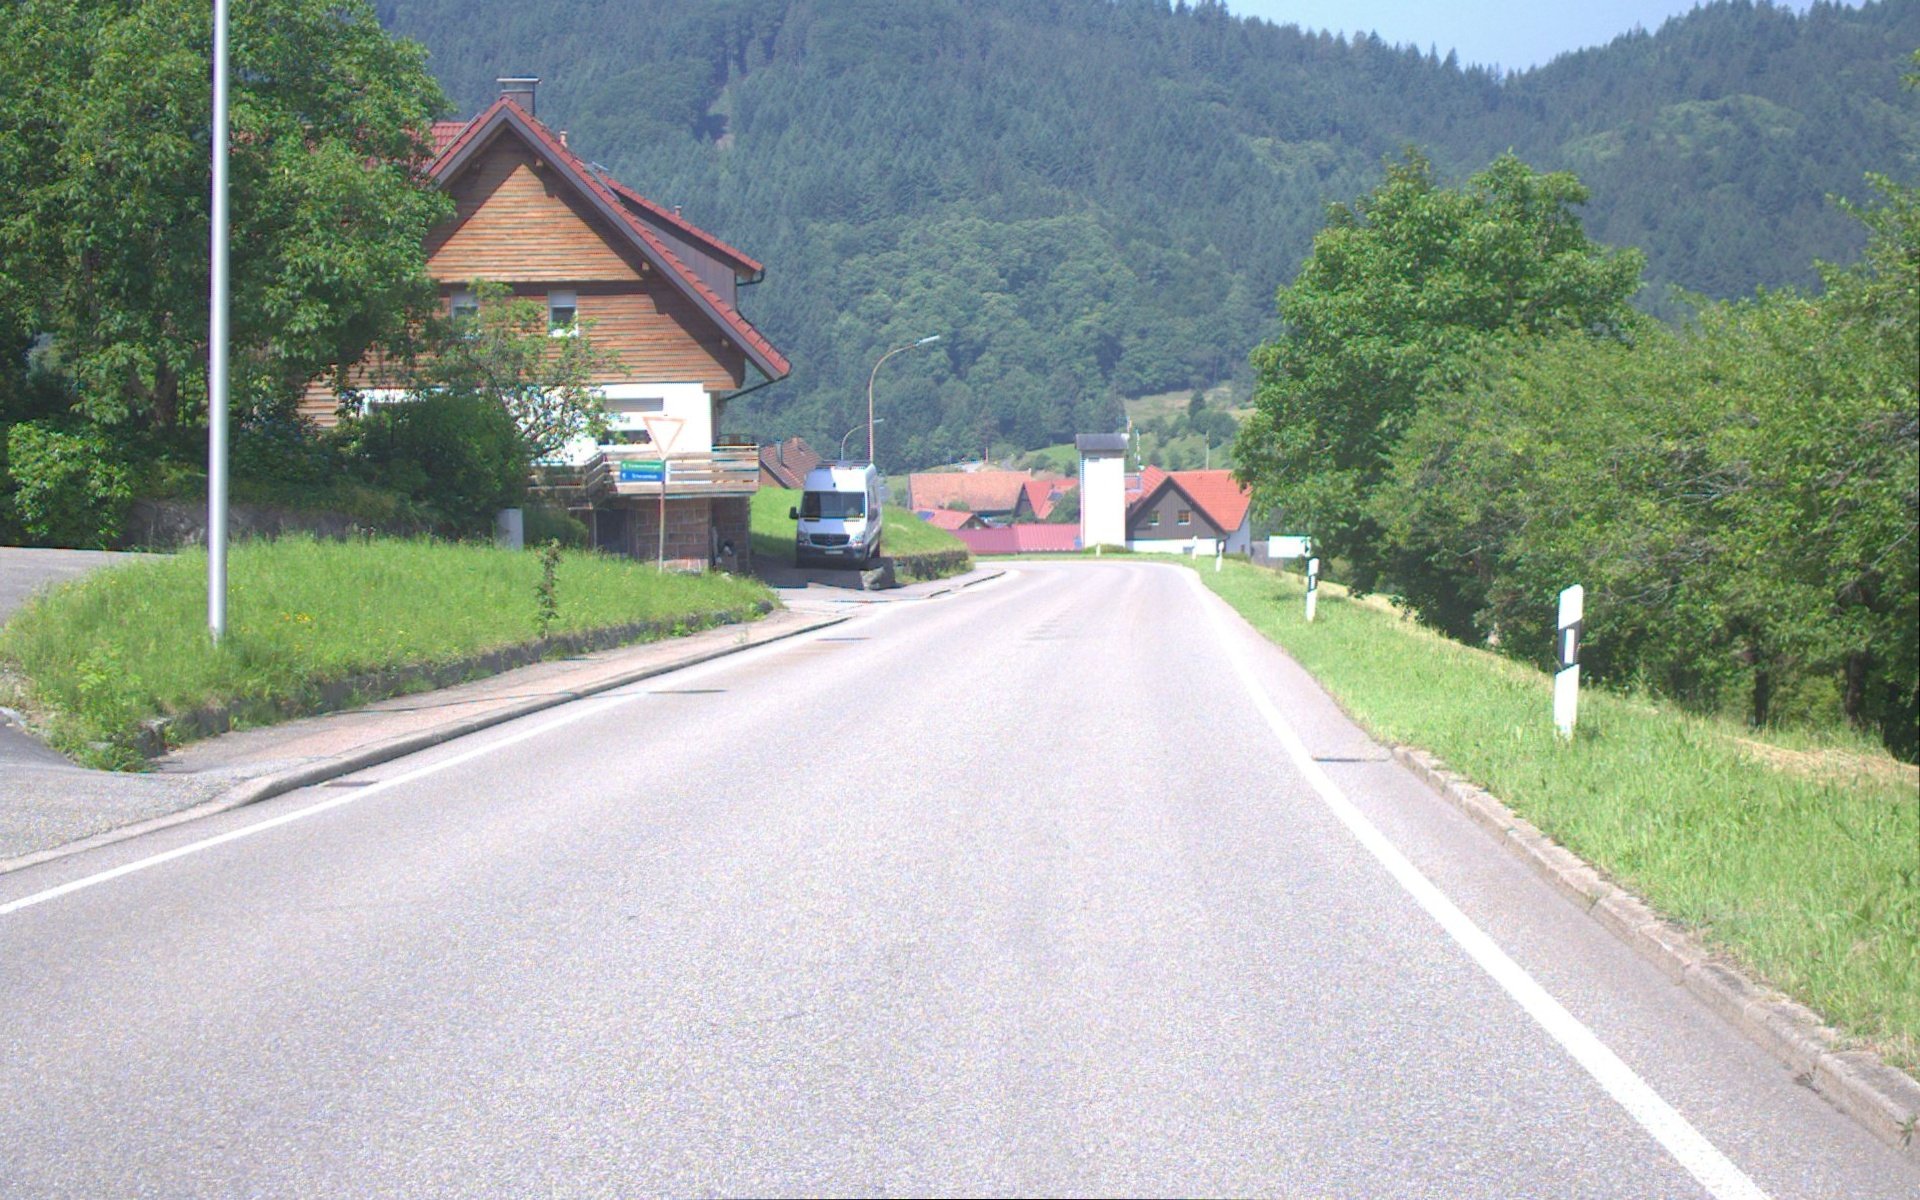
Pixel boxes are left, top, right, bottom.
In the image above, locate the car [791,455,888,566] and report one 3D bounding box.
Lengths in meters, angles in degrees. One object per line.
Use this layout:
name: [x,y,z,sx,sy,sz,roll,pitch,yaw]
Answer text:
car: [-3.278,-2.523,94.789,2.067,2.679,7.175,-1,4,3]
